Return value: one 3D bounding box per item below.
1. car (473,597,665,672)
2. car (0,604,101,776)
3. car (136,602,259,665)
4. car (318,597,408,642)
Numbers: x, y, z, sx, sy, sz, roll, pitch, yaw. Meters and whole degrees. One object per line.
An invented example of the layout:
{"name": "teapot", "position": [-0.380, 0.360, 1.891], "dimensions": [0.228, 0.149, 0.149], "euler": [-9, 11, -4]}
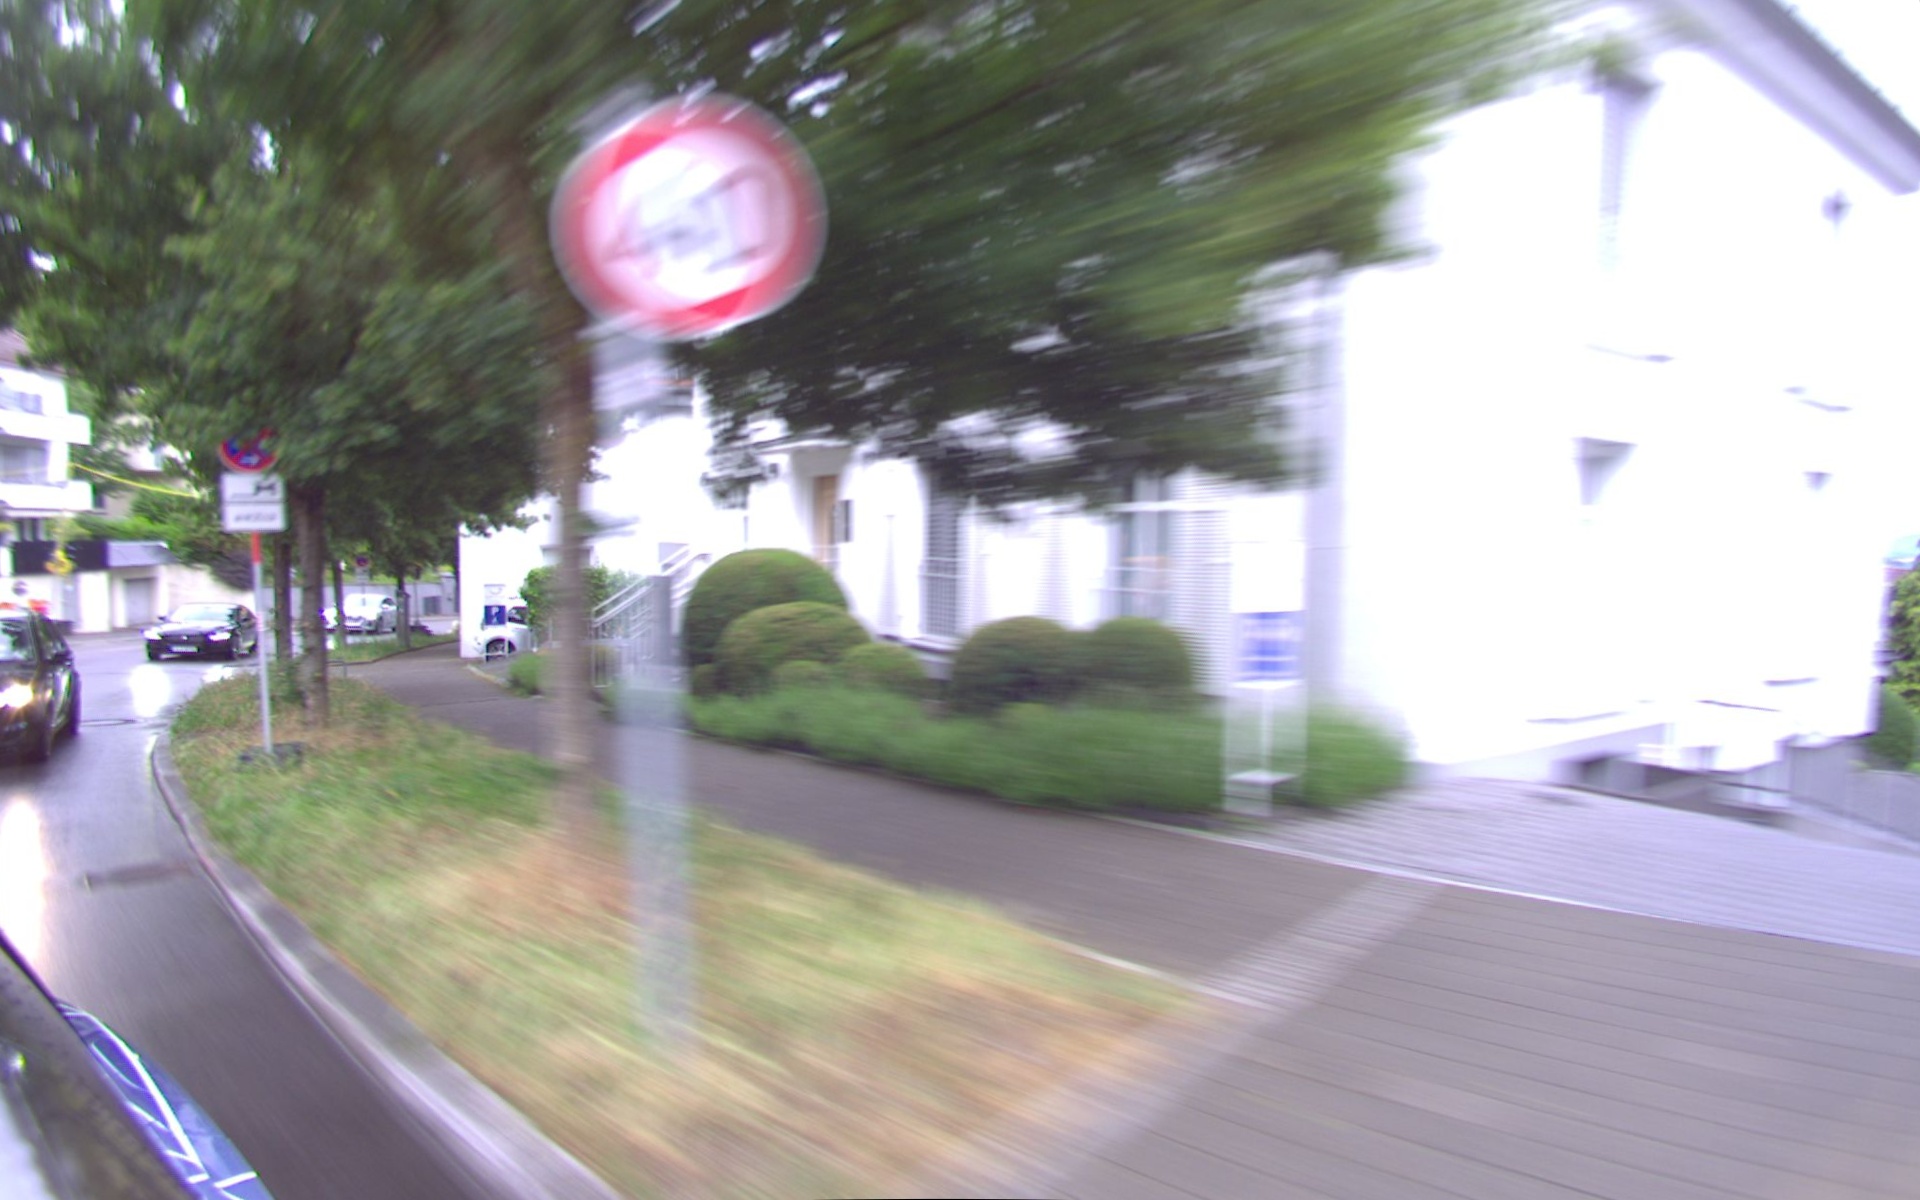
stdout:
{"name": "car", "position": [-8.950, 0.778, 23.221], "dimensions": [3.930, 1.573, 1.756], "euler": [2, 0, -25]}
{"name": "car", "position": [-10.009, 0.804, 10.176], "dimensions": [1.552, 1.463, 3.597], "euler": [1, 0, -32]}
{"name": "car", "position": [-19.910, 0.836, 26.591], "dimensions": [1.777, 1.500, 4.030], "euler": [1, -1, -25]}
{"name": "car", "position": [-25.176, 0.795, 42.837], "dimensions": [1.980, 1.674, 4.457], "euler": [3, 0, -13]}
